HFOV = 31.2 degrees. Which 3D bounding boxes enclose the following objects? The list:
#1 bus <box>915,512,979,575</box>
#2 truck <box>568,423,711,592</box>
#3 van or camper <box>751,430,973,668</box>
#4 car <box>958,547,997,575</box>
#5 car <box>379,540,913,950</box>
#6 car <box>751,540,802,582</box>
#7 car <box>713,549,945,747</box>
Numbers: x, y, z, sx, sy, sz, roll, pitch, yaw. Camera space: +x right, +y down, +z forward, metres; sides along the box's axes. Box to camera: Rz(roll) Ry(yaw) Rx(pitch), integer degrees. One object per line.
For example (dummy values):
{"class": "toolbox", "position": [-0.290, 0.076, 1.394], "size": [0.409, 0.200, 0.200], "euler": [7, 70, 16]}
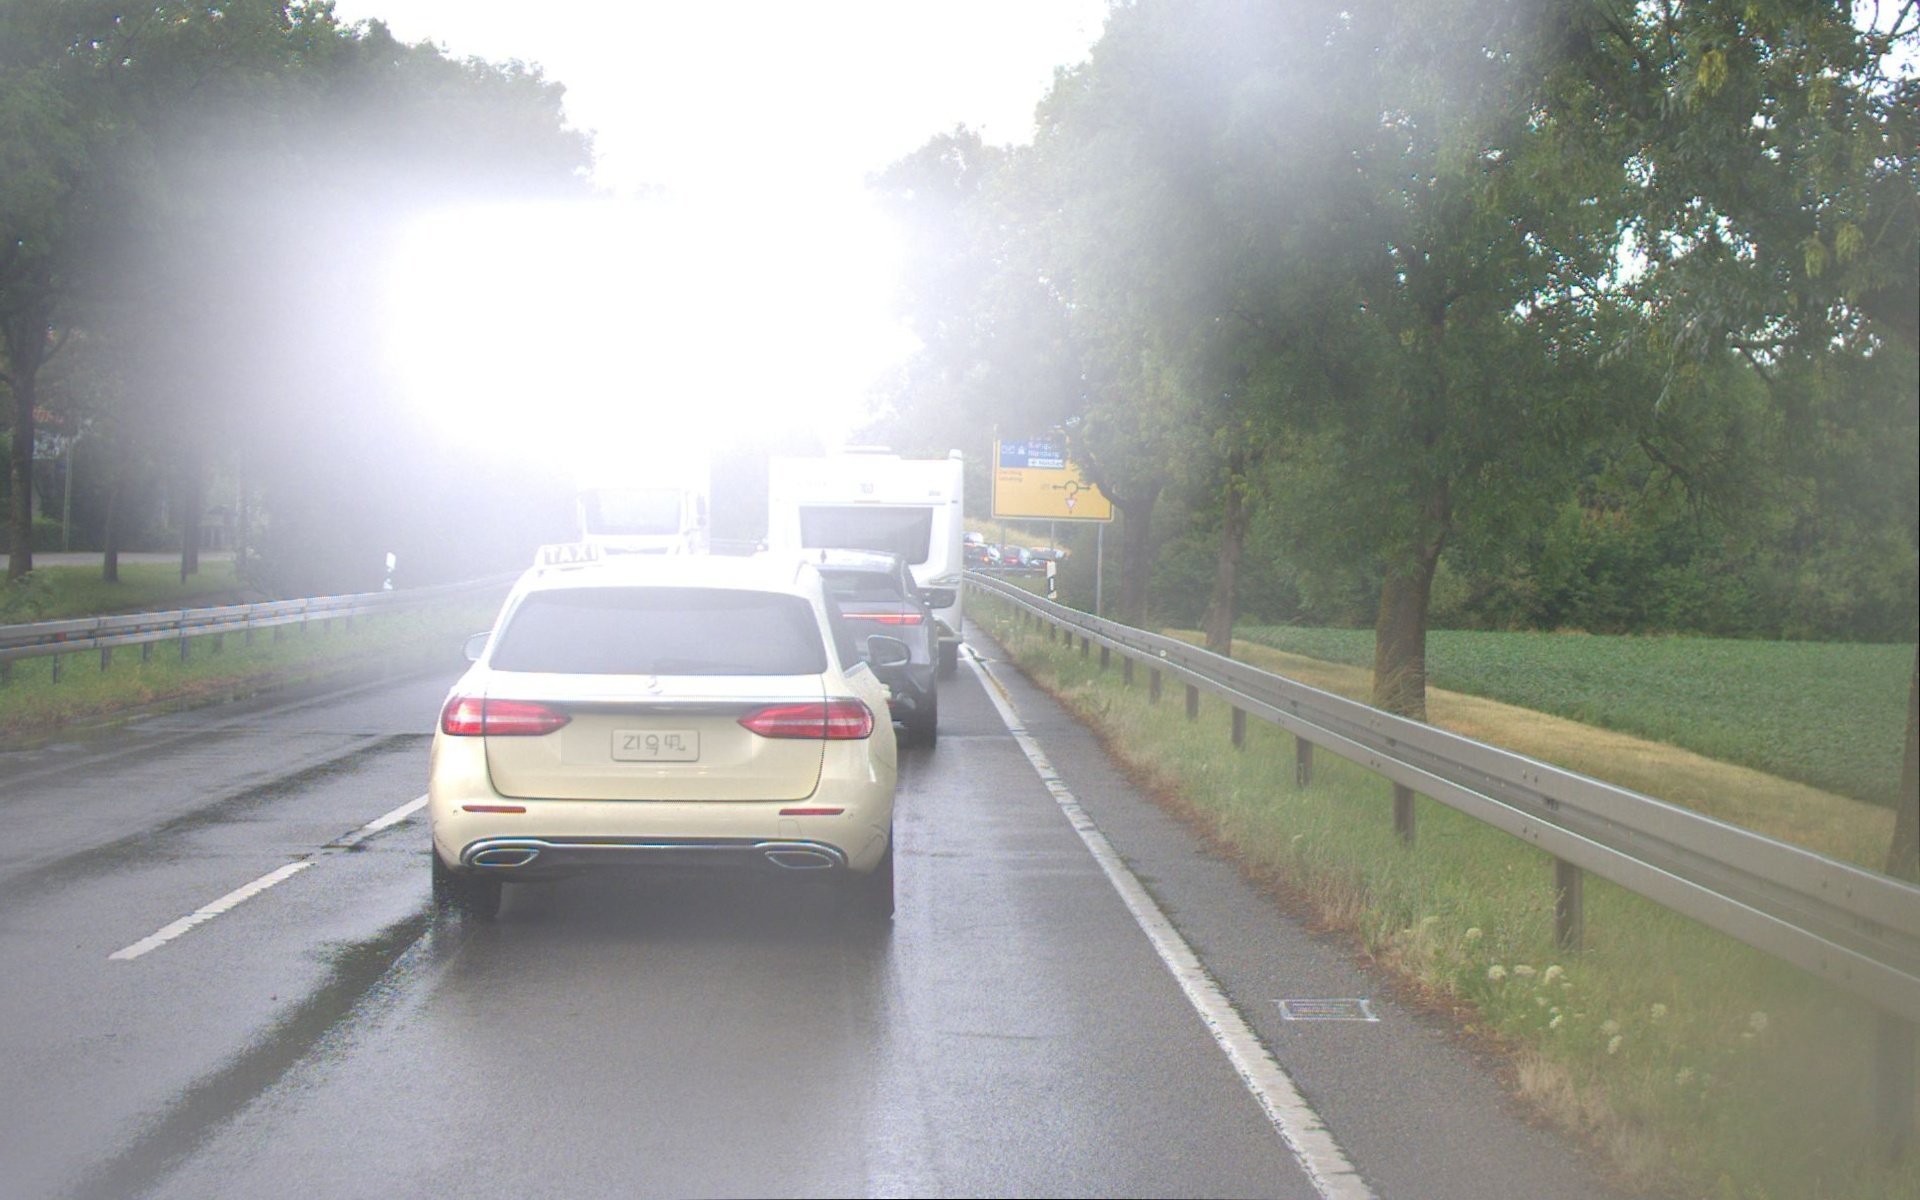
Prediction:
{"class": "bus", "position": [-0.439, -1.818, 110.107], "size": [1.993, 2.007, 4.000], "euler": [0, 1, -1]}
{"class": "truck", "position": [-6.906, -1.994, 75.197], "size": [2.576, 3.440, 9.557], "euler": [0, 1, -2]}
{"class": "van or camper", "position": [-1.117, -0.633, 42.164], "size": [2.489, 2.676, 5.700], "euler": [1, 1, 0]}
{"class": "car", "position": [0.719, -1.610, 142.617], "size": [1.551, 1.114, 4.000], "euler": [1, 1, 0]}
{"class": "car", "position": [-1.167, 0.490, 14.466], "size": [1.865, 1.471, 4.000], "euler": [0, 1, 0]}
{"class": "car", "position": [-6.596, -1.405, 123.897], "size": [1.714, 1.446, 4.111], "euler": [1, 1, -1]}
{"class": "car", "position": [-0.967, 0.325, 27.213], "size": [1.664, 1.426, 4.000], "euler": [0, 1, 0]}
